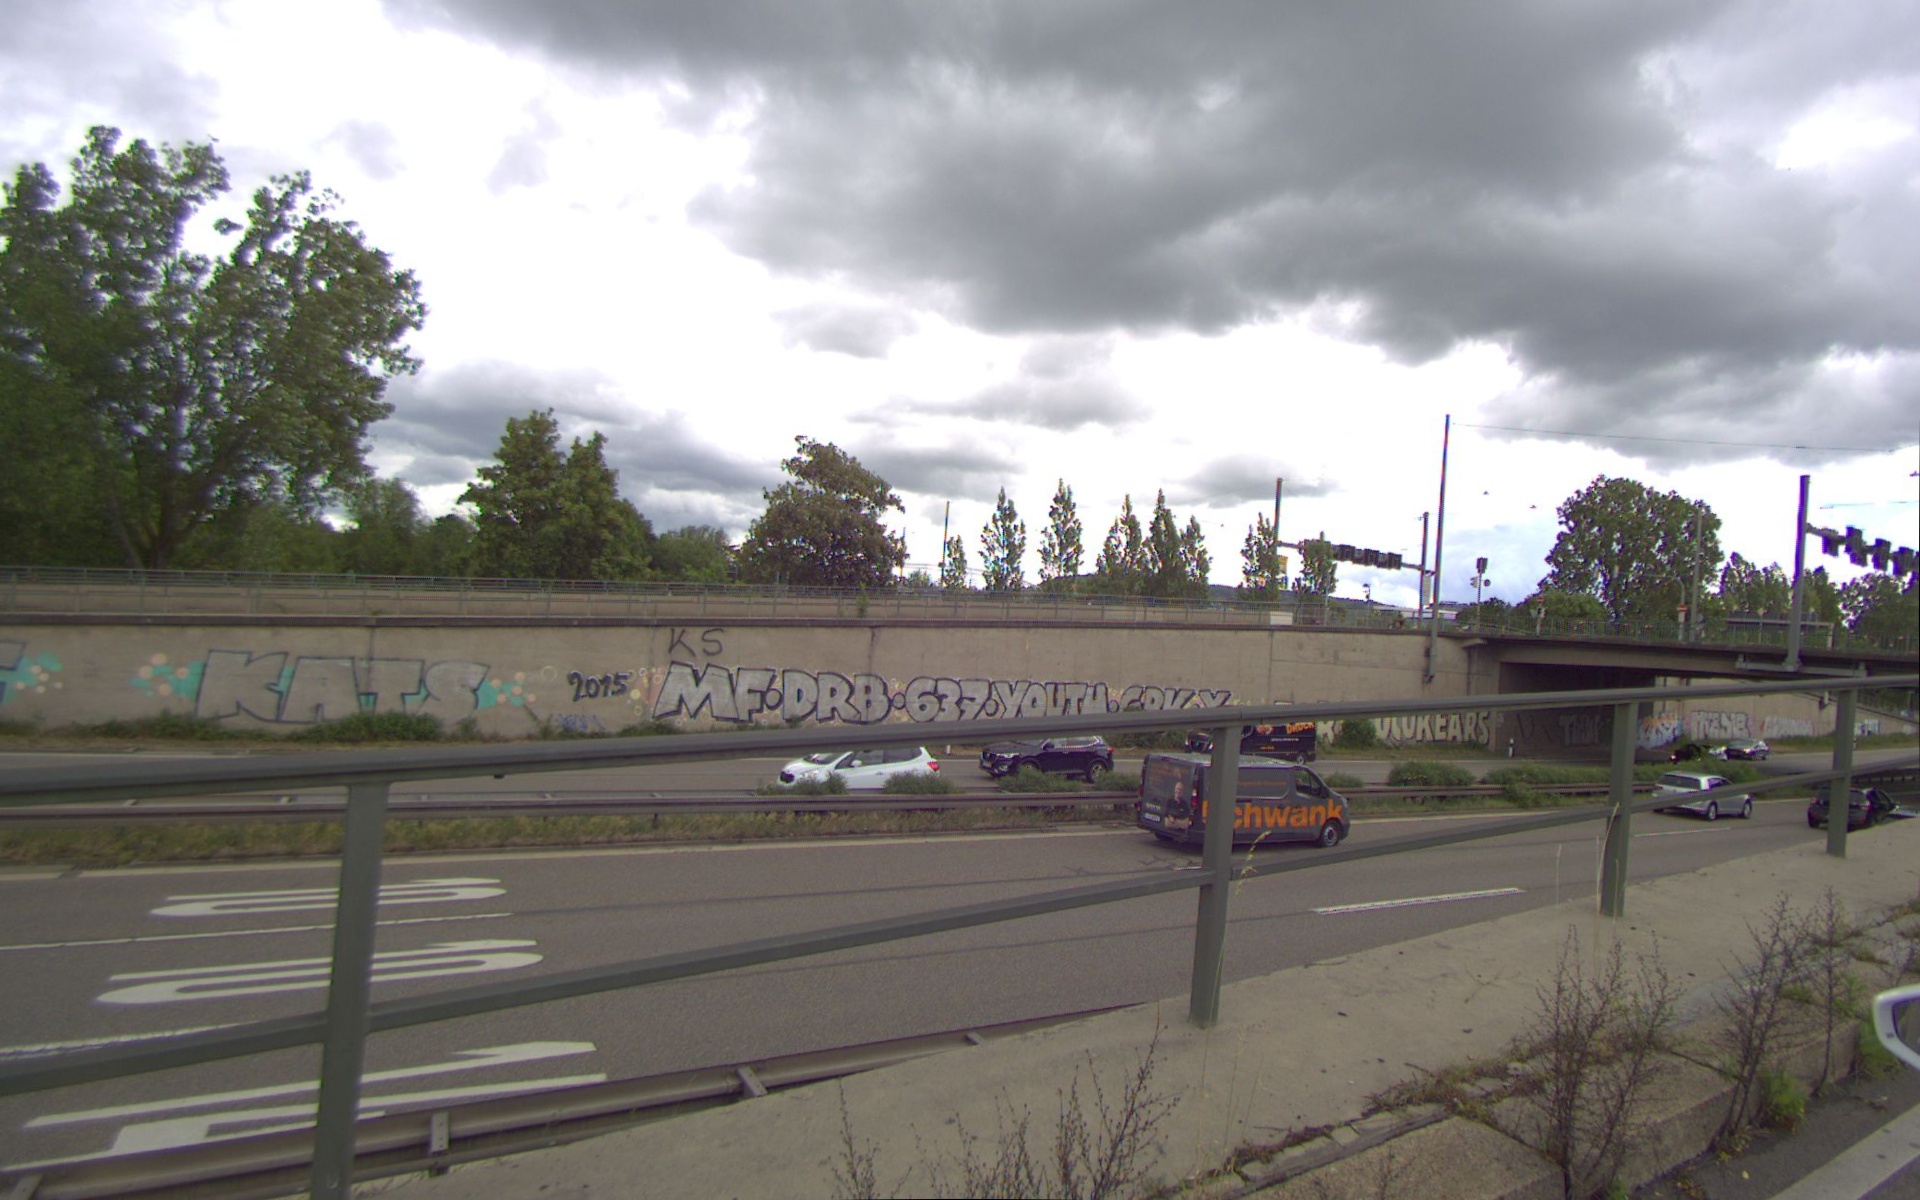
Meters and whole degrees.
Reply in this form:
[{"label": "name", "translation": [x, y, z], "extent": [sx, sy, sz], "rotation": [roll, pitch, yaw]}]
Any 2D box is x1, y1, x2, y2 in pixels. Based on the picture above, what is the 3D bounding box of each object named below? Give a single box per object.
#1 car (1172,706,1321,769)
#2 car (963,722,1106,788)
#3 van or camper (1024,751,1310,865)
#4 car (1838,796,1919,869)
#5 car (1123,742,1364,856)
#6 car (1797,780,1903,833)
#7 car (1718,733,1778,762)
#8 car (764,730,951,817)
[{"label": "car", "translation": [11.818, 5.673, 41.257], "extent": [6.114, 2.182, 2.279], "rotation": [6, -3, -31]}, {"label": "car", "translation": [2.348, 4.825, 31.383], "extent": [3.957, 1.683, 1.983], "rotation": [6, -2, -31]}, {"label": "van or camper", "translation": [4.533, 4.342, 21.475], "extent": [6.277, 1.893, 1.873], "rotation": [6, -2, -31]}, {"label": "car", "translation": [26.096, 6.221, 27.087], "extent": [4.242, 1.520, 1.932], "rotation": [4, -3, -22]}, {"label": "car", "translation": [6.417, 4.379, 22.531], "extent": [5.280, 2.039, 2.083], "rotation": [6, -3, -31]}, {"label": "car", "translation": [29.547, 6.805, 33.335], "extent": [3.610, 1.344, 1.714], "rotation": [6, -3, -33]}, {"label": "car", "translation": [54.709, 10.253, 69.741], "extent": [3.957, 1.683, 1.983], "rotation": [6, -2, -31]}, {"label": "car", "translation": [-2.473, 4.162, 24.389], "extent": [3.957, 1.683, 1.983], "rotation": [6, -2, -31]}]
